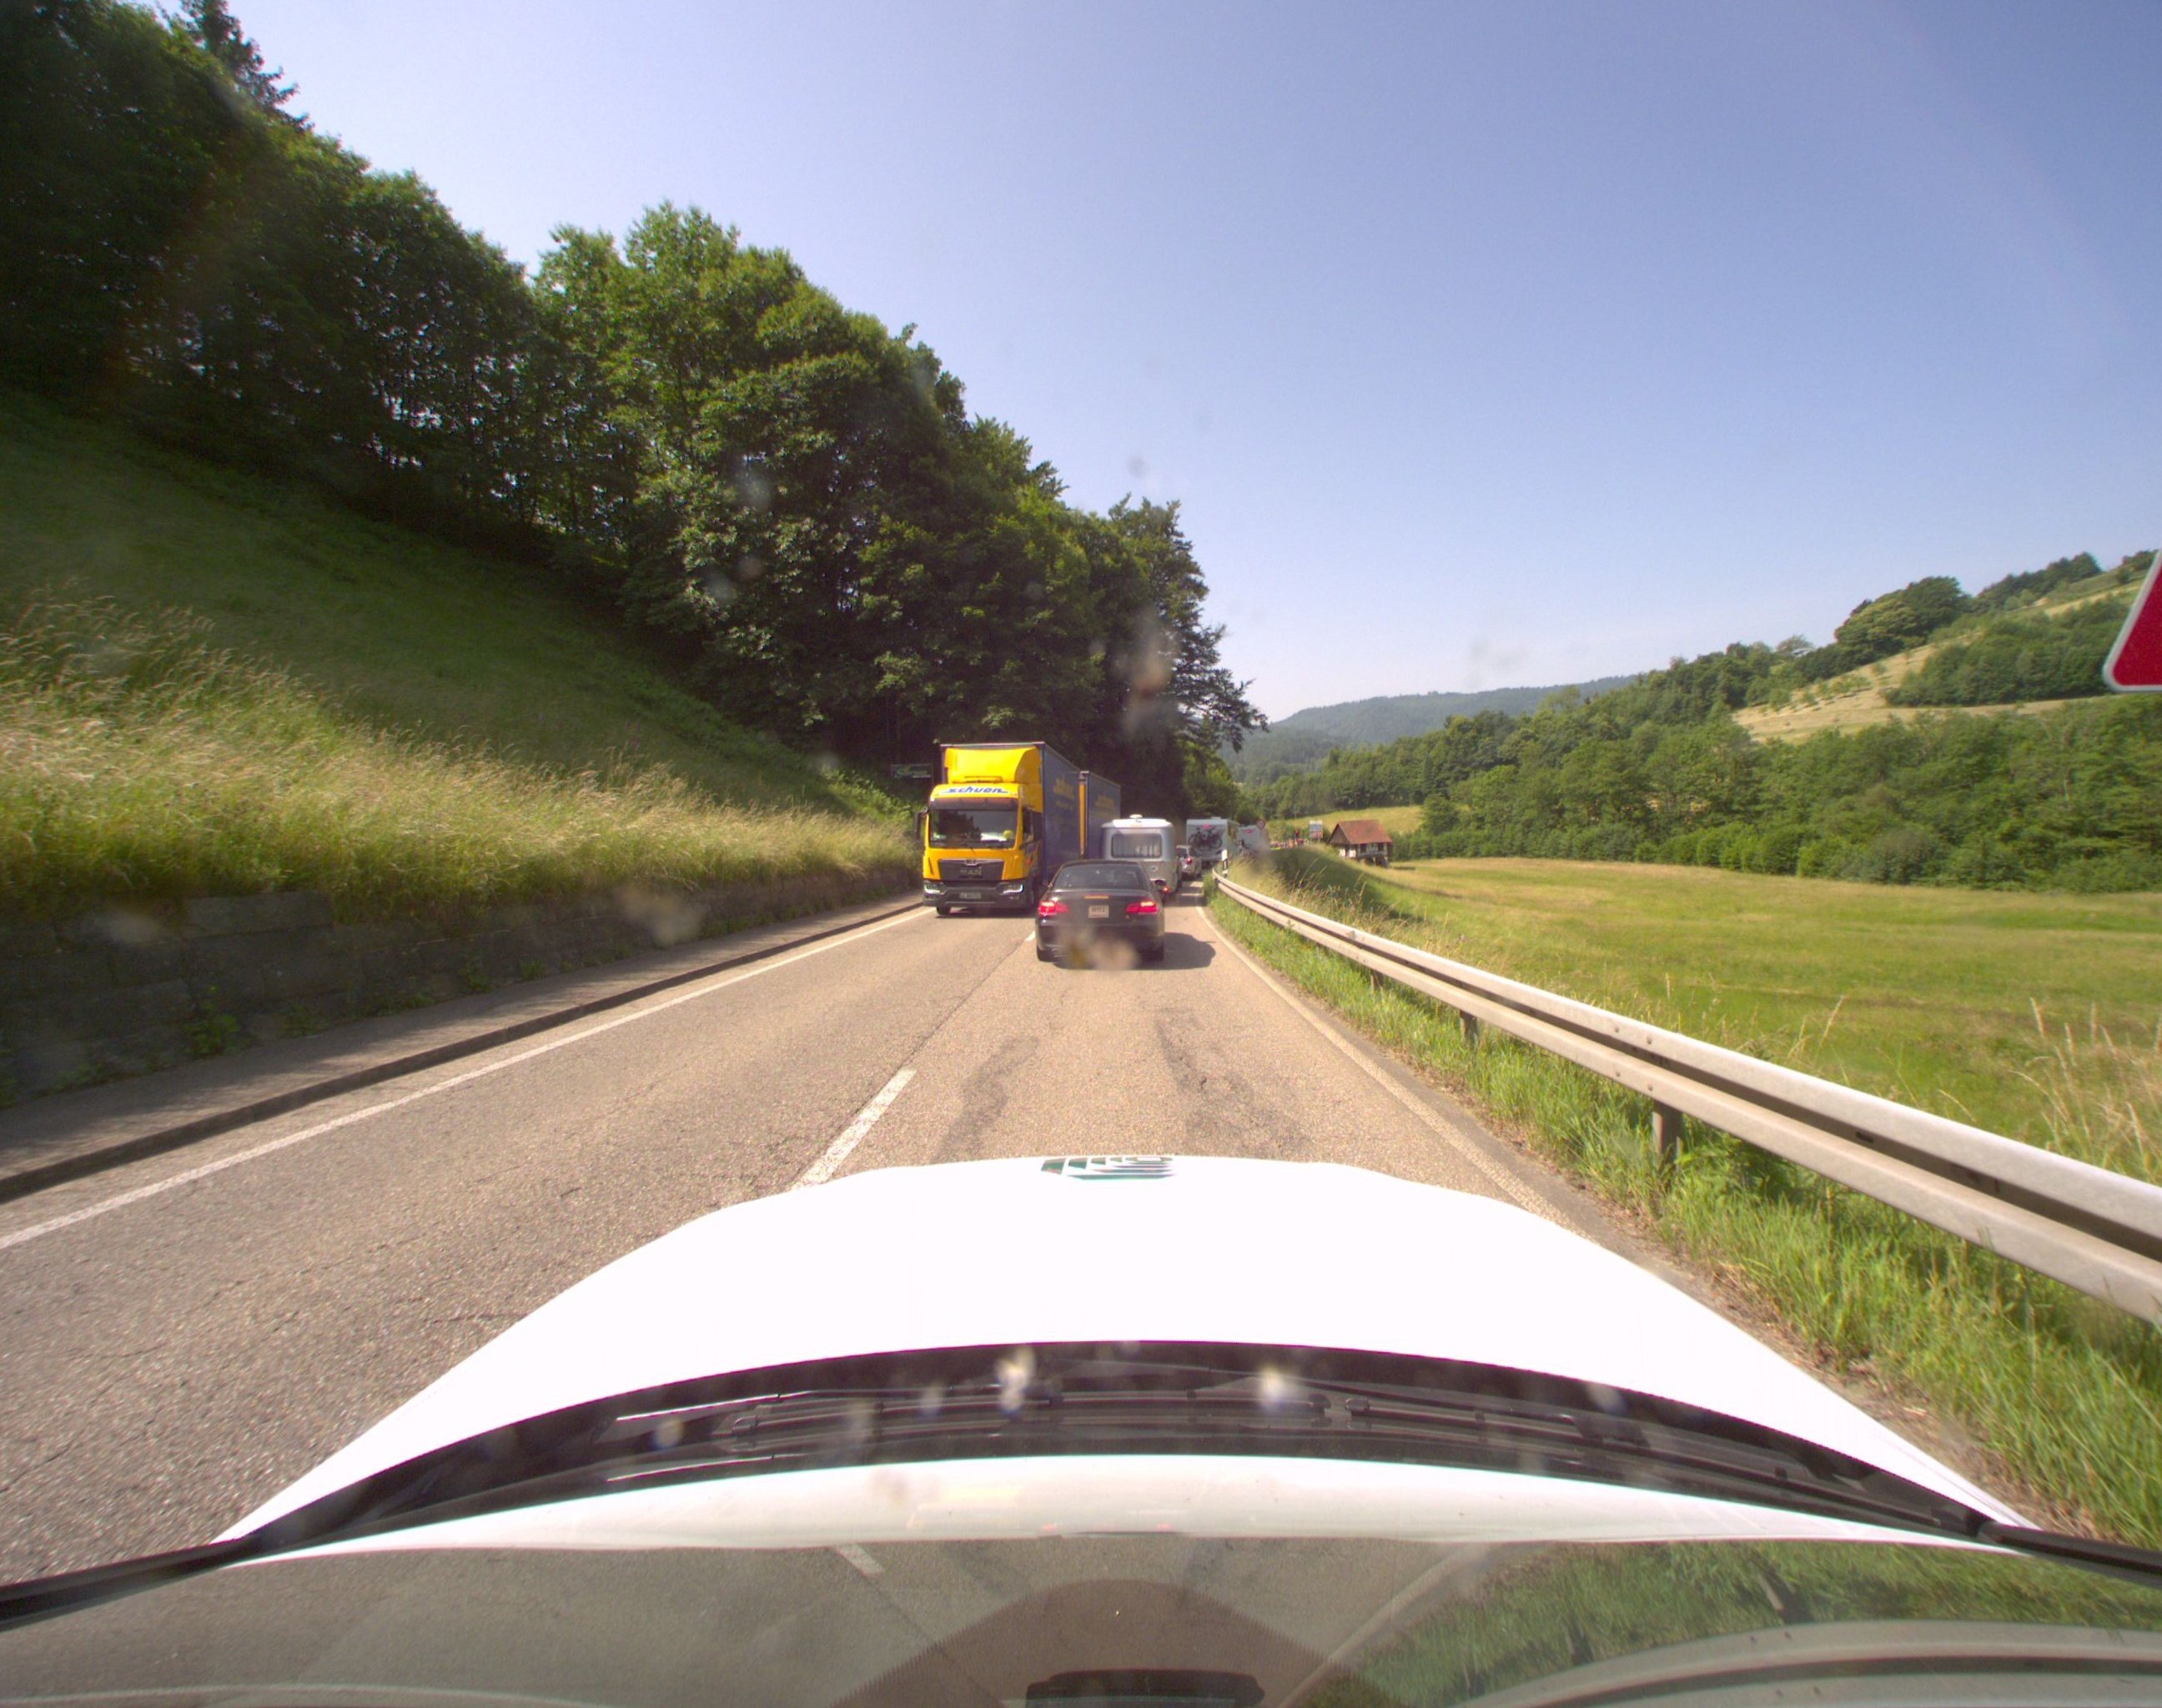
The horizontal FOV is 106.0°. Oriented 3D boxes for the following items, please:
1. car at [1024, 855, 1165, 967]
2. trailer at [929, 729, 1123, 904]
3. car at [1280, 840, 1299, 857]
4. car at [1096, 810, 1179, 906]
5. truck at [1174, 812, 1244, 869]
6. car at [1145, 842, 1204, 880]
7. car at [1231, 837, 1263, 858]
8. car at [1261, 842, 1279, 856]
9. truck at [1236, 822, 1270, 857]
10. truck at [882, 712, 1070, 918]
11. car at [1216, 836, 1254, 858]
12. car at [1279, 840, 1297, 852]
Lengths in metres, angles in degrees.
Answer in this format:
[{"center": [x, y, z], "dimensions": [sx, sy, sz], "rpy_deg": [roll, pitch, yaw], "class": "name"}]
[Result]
[{"center": [0.329, 0.715, 12.084], "dimensions": [1.763, 1.335, 3.772], "rpy_deg": [0, 1, 5], "class": "car"}, {"center": [-1.041, -1.116, 28.377], "dimensions": [3.240, 4.417, 15.358], "rpy_deg": [0, 1, 9], "class": "trailer"}, {"center": [25.538, -0.687, 99.679], "dimensions": [1.979, 1.925, 4.016], "rpy_deg": [3, 0, 15], "class": "car"}, {"center": [1.673, 0.055, 22.479], "dimensions": [1.983, 2.353, 4.924], "rpy_deg": [0, 1, 7], "class": "car"}, {"center": [7.492, -0.795, 46.923], "dimensions": [2.768, 2.997, 6.901], "rpy_deg": [2, 2, 18], "class": "truck"}, {"center": [4.069, 0.239, 34.848], "dimensions": [1.979, 1.484, 4.015], "rpy_deg": [1, 1, 14], "class": "car"}, {"center": [12.652, -0.528, 61.955], "dimensions": [1.772, 1.463, 4.021], "rpy_deg": [2, 2, 21], "class": "car"}, {"center": [20.989, -0.575, 90.475], "dimensions": [1.893, 1.486, 4.015], "rpy_deg": [0, 0, 14], "class": "car"}, {"center": [14.500, -1.156, 68.378], "dimensions": [2.220, 2.804, 6.260], "rpy_deg": [0, 0, 17], "class": "truck"}, {"center": [-2.319, -0.934, 20.805], "dimensions": [3.171, 4.396, 6.586], "rpy_deg": [0, 2, 7], "class": "truck"}, {"center": [10.718, -0.517, 56.475], "dimensions": [1.977, 1.463, 4.020], "rpy_deg": [2, 2, 19], "class": "car"}, {"center": [29.726, -1.128, 116.705], "dimensions": [1.976, 1.575, 4.021], "rpy_deg": [0, 0, 22], "class": "car"}]
